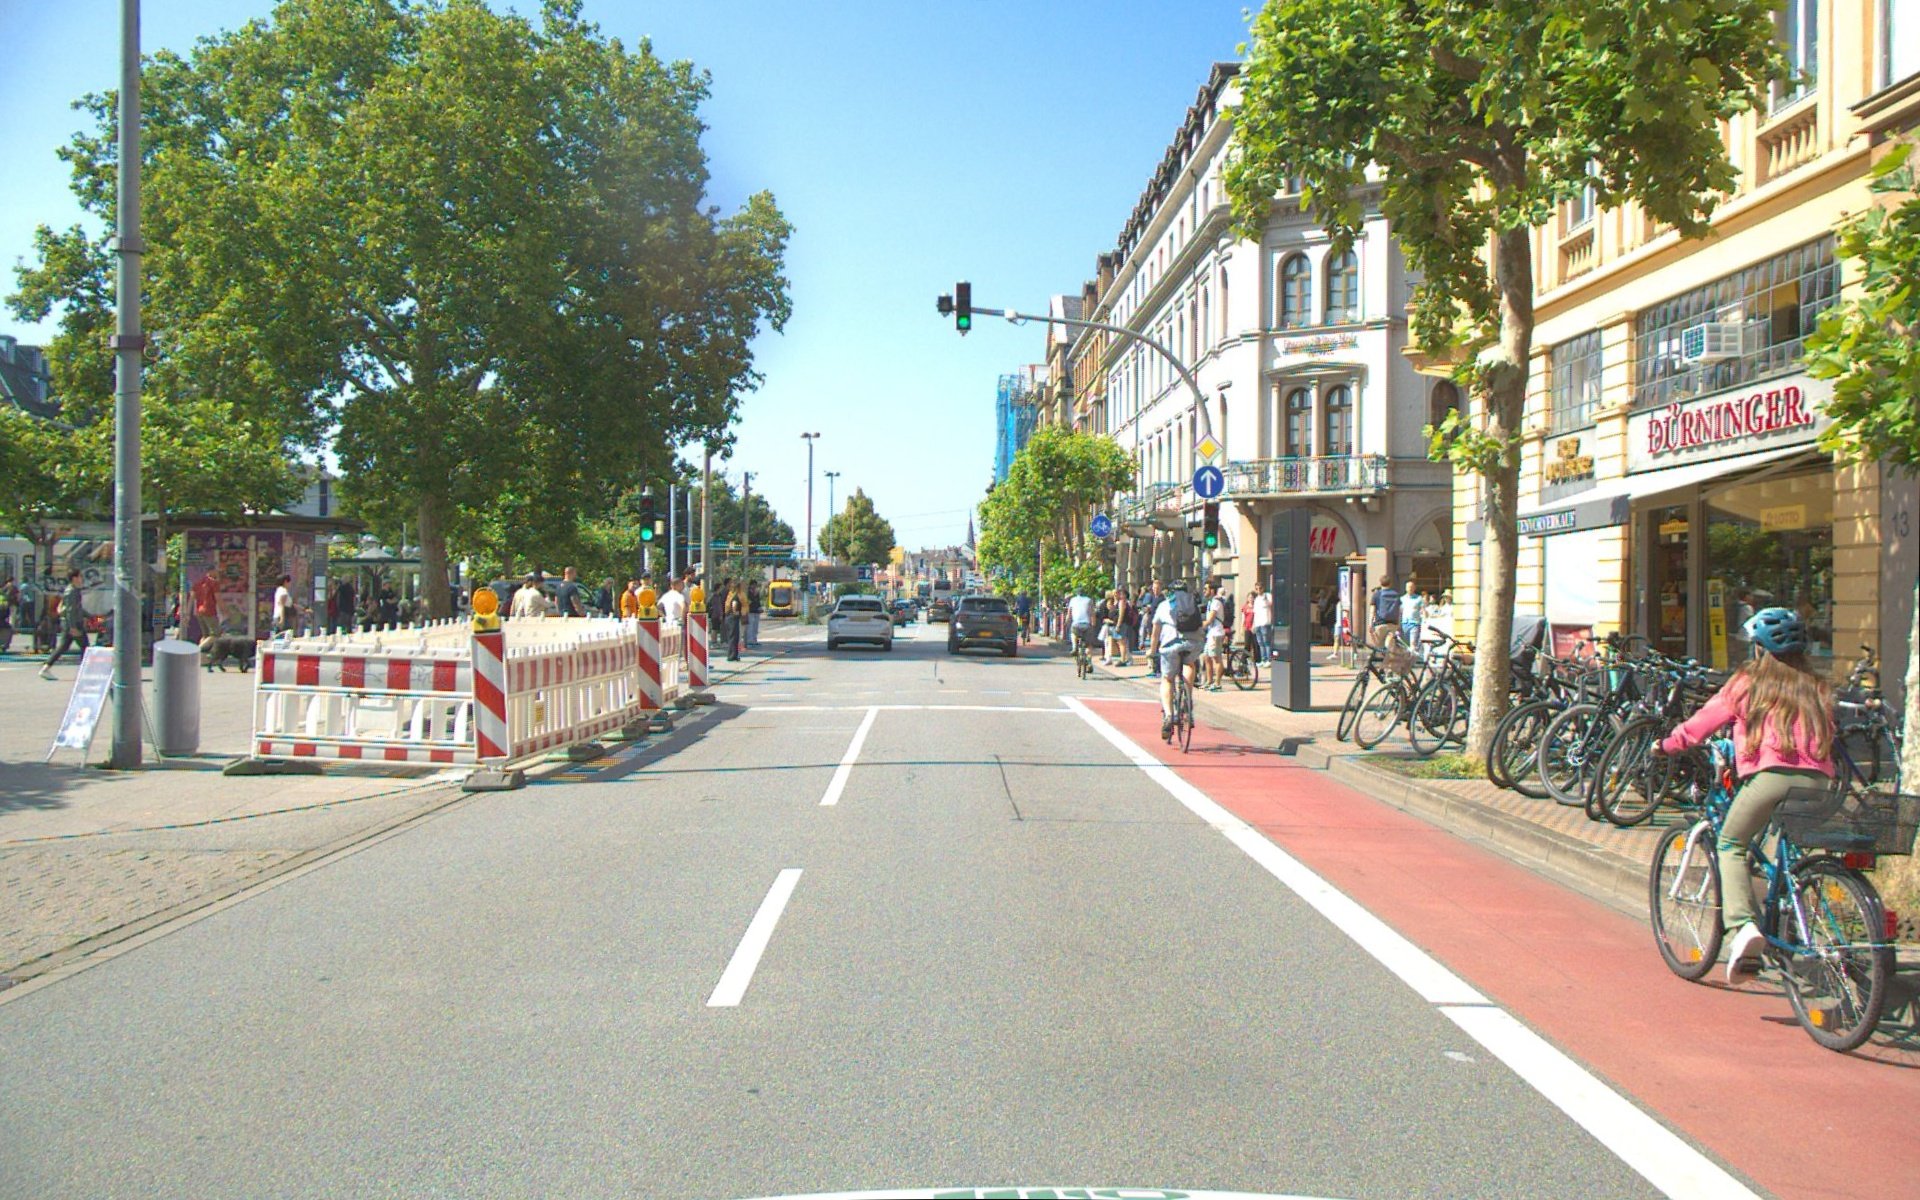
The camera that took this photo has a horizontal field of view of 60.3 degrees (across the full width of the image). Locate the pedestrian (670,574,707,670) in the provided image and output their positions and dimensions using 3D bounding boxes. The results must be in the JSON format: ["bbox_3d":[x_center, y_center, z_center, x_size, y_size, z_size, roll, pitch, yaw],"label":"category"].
[{"bbox_3d":[-5.110,0.408,31.162,0.564,1.789,0.638,1,-1,1],"label":"pedestrian"}]

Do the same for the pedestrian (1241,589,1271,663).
[{"bbox_3d":[6.569,0.572,36.722,0.512,1.637,0.641,-1,-1,-1],"label":"pedestrian"}]

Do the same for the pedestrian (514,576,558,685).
[{"bbox_3d":[-7.663,0.550,29.901,0.564,1.924,0.653,2,-1,1],"label":"pedestrian"}]

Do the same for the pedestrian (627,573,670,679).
[{"bbox_3d":[-5.407,0.454,28.741,0.528,1.810,0.606,2,-1,5],"label":"pedestrian"}]

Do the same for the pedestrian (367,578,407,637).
[{"bbox_3d":[-14.824,0.185,42.795,0.619,1.504,0.731,0,-1,20],"label":"pedestrian"}]

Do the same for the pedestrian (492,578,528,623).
[{"bbox_3d":[-11.629,0.012,42.744,0.619,1.164,0.665,0,-1,20],"label":"pedestrian"}]

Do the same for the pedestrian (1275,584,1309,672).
[{"bbox_3d":[6.398,0.532,31.883,0.537,1.668,0.589,-1,-1,2],"label":"pedestrian"}]

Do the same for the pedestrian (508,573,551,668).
[{"bbox_3d":[-8.059,0.365,30.980,0.572,1.752,0.789,1,0,1],"label":"pedestrian"}]

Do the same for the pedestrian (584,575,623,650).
[{"bbox_3d":[-8.815,0.313,40.888,0.619,1.842,0.731,0,-1,20],"label":"pedestrian"}]

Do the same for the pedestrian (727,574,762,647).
[{"bbox_3d":[-5.498,0.262,42.217,0.619,1.825,0.731,0,-1,20],"label":"pedestrian"}]

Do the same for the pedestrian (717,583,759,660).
[{"bbox_3d":[-4.746,0.466,35.410,0.619,1.623,0.687,0,-1,20],"label":"pedestrian"}]

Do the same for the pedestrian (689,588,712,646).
[{"bbox_3d":[-7.934,0.505,50.624,0.598,1.755,0.677,1,-1,-3],"label":"pedestrian"}]

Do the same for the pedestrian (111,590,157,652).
[{"bbox_3d":[-17.291,0.441,34.612,0.599,1.284,0.611,1,0,25],"label":"pedestrian"}]

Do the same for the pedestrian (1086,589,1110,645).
[{"bbox_3d":[4.143,0.502,49.614,0.519,1.622,0.611,0,3,25],"label":"pedestrian"}]

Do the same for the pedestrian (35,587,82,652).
[{"bbox_3d":[-18.124,0.394,33.253,0.600,1.284,0.609,1,0,35],"label":"pedestrian"}]

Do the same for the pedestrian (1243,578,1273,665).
[{"bbox_3d":[6.438,0.465,35.746,0.512,1.855,0.641,-1,-1,-1],"label":"pedestrian"}]

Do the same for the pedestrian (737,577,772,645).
[{"bbox_3d":[-5.713,0.301,45.991,0.620,1.866,0.730,0,-1,28],"label":"pedestrian"}]

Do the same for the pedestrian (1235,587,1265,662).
[{"bbox_3d":[6.374,0.533,36.392,0.512,1.640,0.641,-1,-1,-1],"label":"pedestrian"}]

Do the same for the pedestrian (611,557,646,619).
[{"bbox_3d":[-9.805,-0.346,48.871,0.665,1.795,0.765,0,-1,28],"label":"pedestrian"}]

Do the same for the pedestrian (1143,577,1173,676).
[{"bbox_3d":[3.915,0.526,32.736,0.512,1.931,0.641,-1,-1,2],"label":"pedestrian"}]

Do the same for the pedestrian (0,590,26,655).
[{"bbox_3d":[-19.051,0.447,33.041,0.601,1.284,0.608,1,0,-23],"label":"pedestrian"}]

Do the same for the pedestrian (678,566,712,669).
[{"bbox_3d":[-5.090,0.329,31.788,0.521,1.953,0.560,1,-1,1],"label":"pedestrian"}]

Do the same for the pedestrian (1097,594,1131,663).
[{"bbox_3d":[3.530,0.651,38.016,0.598,1.541,0.677,-4,0,-3],"label":"pedestrian"}]

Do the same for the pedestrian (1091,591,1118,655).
[{"bbox_3d":[3.954,0.621,45.269,0.571,1.703,0.605,-3,0,-3],"label":"pedestrian"}]

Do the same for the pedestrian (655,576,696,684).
[{"bbox_3d":[-4.760,0.500,27.660,0.425,1.770,0.599,2,-1,-32],"label":"pedestrian"}]

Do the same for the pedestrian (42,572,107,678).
[{"bbox_3d":[-13.236,0.372,24.734,0.564,1.559,0.606,2,-1,5],"label":"pedestrian"}]

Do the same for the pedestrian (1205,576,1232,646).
[{"bbox_3d":[6.928,0.302,44.340,0.598,1.855,0.677,1,-1,-3],"label":"pedestrian"}]

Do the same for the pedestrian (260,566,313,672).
[{"bbox_3d":[-11.566,0.323,28.409,0.564,1.769,0.606,2,-1,5],"label":"pedestrian"}]

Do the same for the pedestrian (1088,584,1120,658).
[{"bbox_3d":[3.585,0.515,41.105,0.598,1.770,0.677,-4,0,-3],"label":"pedestrian"}]

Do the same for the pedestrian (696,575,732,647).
[{"bbox_3d":[-6.529,0.296,43.951,0.620,1.891,0.730,0,-1,28],"label":"pedestrian"}]

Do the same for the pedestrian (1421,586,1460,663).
[{"bbox_3d":[10.081,0.518,34.680,0.579,1.596,0.547,-1,-1,45],"label":"pedestrian"}]

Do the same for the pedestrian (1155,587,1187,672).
[{"bbox_3d":[3.856,0.536,30.288,0.512,1.548,0.641,-1,-1,2],"label":"pedestrian"}]

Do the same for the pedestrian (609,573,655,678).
[{"bbox_3d":[-5.551,0.433,27.966,0.534,1.748,0.599,2,-1,-32],"label":"pedestrian"}]

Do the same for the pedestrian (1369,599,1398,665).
[{"bbox_3d":[10.791,0.800,42.132,0.529,1.662,0.677,1,-1,-3],"label":"pedestrian"}]

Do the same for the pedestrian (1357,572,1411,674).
[{"bbox_3d":[7.698,0.428,30.052,0.644,1.821,1.232,1,-2,-1],"label":"pedestrian"}]

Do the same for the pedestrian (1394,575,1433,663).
[{"bbox_3d":[9.571,0.407,34.884,0.579,1.833,0.547,-1,-1,45],"label":"pedestrian"}]

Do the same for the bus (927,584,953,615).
[{"bbox_3d":[-2.519,-0.034,205.166,2.934,3.657,11.740,1,0,-2],"label":"bus"}]

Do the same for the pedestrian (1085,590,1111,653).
[{"bbox_3d":[3.832,0.595,45.953,0.571,1.729,0.605,-3,0,-3],"label":"pedestrian"}]

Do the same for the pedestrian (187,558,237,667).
[{"bbox_3d":[-13.316,0.222,29.439,0.656,1.912,0.624,2,-1,-36],"label":"pedestrian"}]

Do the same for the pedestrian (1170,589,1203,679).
[{"bbox_3d":[4.234,0.627,30.960,0.537,1.659,0.589,-1,-1,2],"label":"pedestrian"}]

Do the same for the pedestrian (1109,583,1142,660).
[{"bbox_3d":[3.965,0.518,39.655,0.598,1.790,0.677,-4,0,-3],"label":"pedestrian"}]

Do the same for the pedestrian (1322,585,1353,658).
[{"bbox_3d":[9.689,0.547,42.431,0.598,1.838,0.677,1,-1,-3],"label":"pedestrian"}]
